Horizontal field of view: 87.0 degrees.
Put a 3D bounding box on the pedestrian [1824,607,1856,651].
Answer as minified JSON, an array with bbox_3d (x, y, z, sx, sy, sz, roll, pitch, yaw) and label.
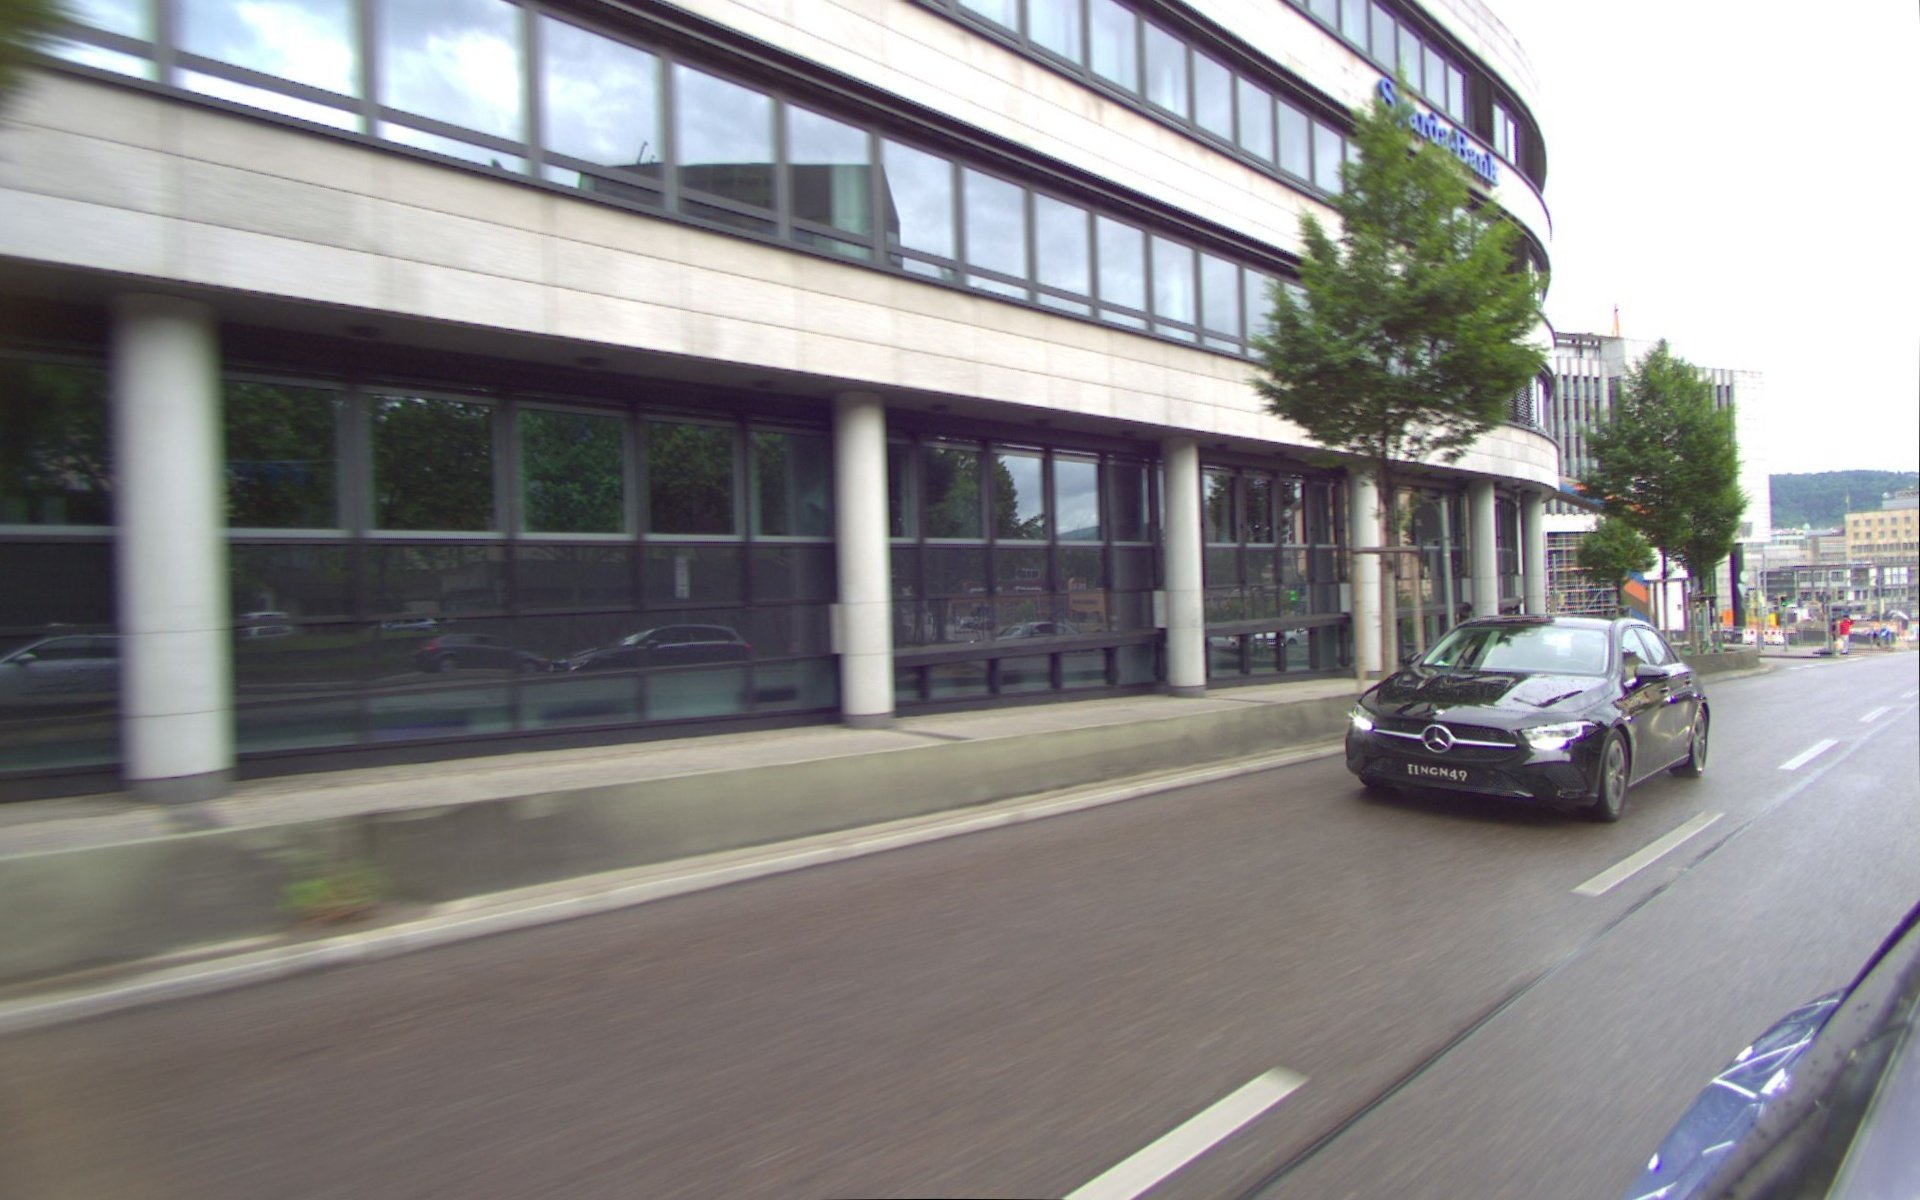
[{"bbox_3d":[39.851,1.309,45.835,0.753,1.971,0.992,0,0,-40],"label":"pedestrian"}]

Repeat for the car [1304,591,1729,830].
[{"bbox_3d":[4.708,0.680,8.284,4.134,1.455,1.874,0,0,-43],"label":"car"}]

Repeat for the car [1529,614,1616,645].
[{"bbox_3d":[35.374,1.664,58.510,1.813,1.640,3.990,0,0,-43],"label":"car"}]

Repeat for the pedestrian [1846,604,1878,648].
[{"bbox_3d":[41.155,1.176,46.170,0.973,1.971,0.768,0,0,-24],"label":"pedestrian"}]
